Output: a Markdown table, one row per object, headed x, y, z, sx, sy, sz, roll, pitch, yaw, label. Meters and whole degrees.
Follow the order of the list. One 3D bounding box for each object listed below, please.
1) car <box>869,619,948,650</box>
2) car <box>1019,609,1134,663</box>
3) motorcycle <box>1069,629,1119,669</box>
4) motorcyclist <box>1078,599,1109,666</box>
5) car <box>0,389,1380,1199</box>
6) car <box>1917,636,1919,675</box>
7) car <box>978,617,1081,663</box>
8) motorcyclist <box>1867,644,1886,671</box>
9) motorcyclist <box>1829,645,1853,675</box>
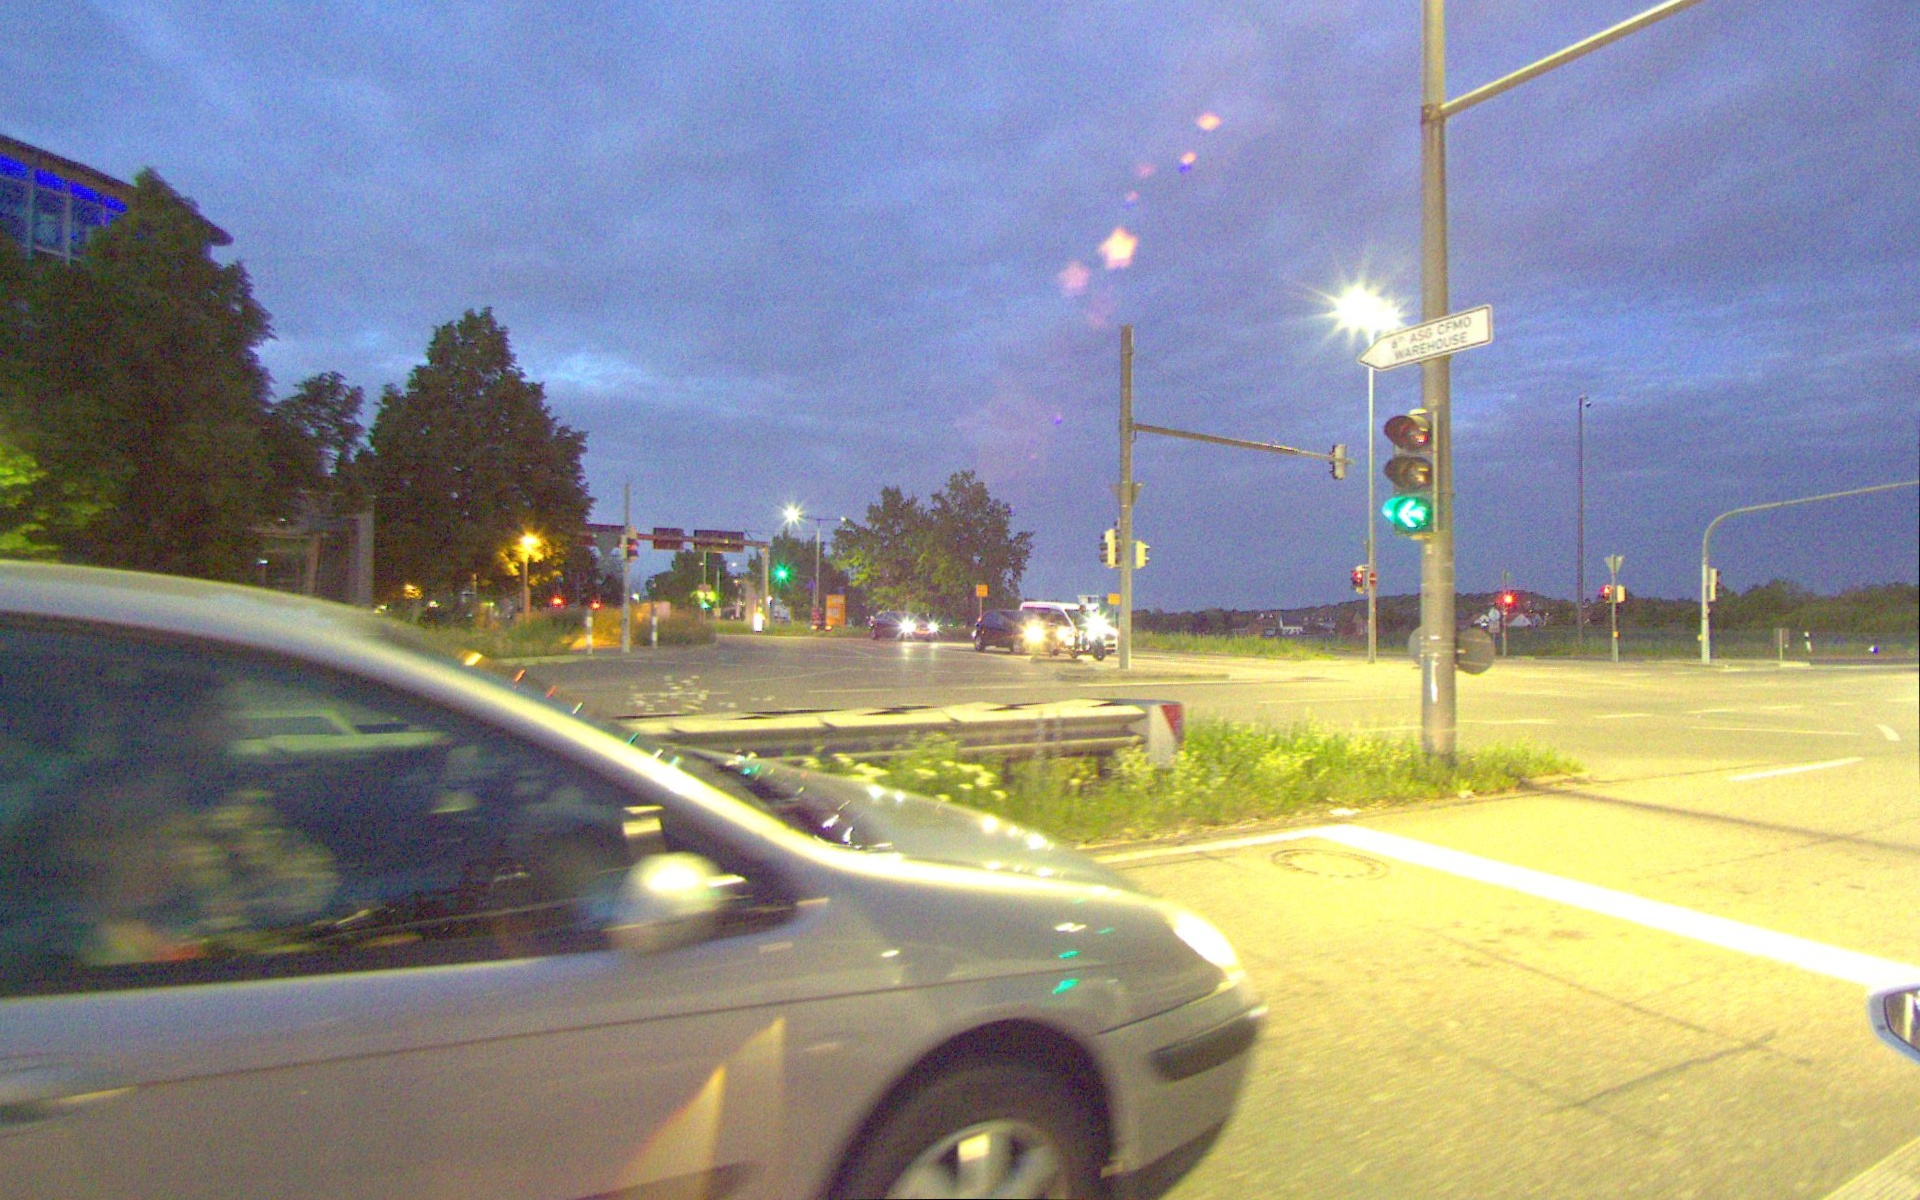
| x | y | z | sx | sy | sz | roll | pitch | yaw | label |
| --- | --- | --- | --- | --- | --- | --- | --- | --- | --- |
| -2.569 | 1.653 | 48.843 | 1.856 | 1.416 | 4.798 | 2 | -2 | -31 | car |
| 4.248 | 1.296 | 37.387 | 1.827 | 1.838 | 4.737 | 2 | -1 | -29 | car |
| 4.122 | 1.493 | 31.007 | 0.664 | 1.179 | 1.797 | 1 | -1 | -25 | motorcycle |
| 4.132 | 0.996 | 31.171 | 0.628 | 2.040 | 0.763 | 1 | -1 | -25 | motorcyclist |
| -1.350 | 0.599 | 1.931 | 4.359 | 1.675 | 1.658 | 2 | 0 | -30 | car |
| 38.464 | 2.146 | 38.146 | 4.236 | 1.465 | 1.774 | 1 | -1 | -27 | car |
| 2.332 | 1.345 | 34.504 | 1.754 | 1.466 | 3.751 | 2 | -1 | -29 | car |
| 60.087 | 3.776 | 65.828 | 0.783 | 1.781 | 0.677 | 4 | -7 | -36 | motorcyclist |
| 55.819 | 3.822 | 63.616 | 0.863 | 1.831 | 0.907 | 6 | -8 | -39 | motorcyclist |
